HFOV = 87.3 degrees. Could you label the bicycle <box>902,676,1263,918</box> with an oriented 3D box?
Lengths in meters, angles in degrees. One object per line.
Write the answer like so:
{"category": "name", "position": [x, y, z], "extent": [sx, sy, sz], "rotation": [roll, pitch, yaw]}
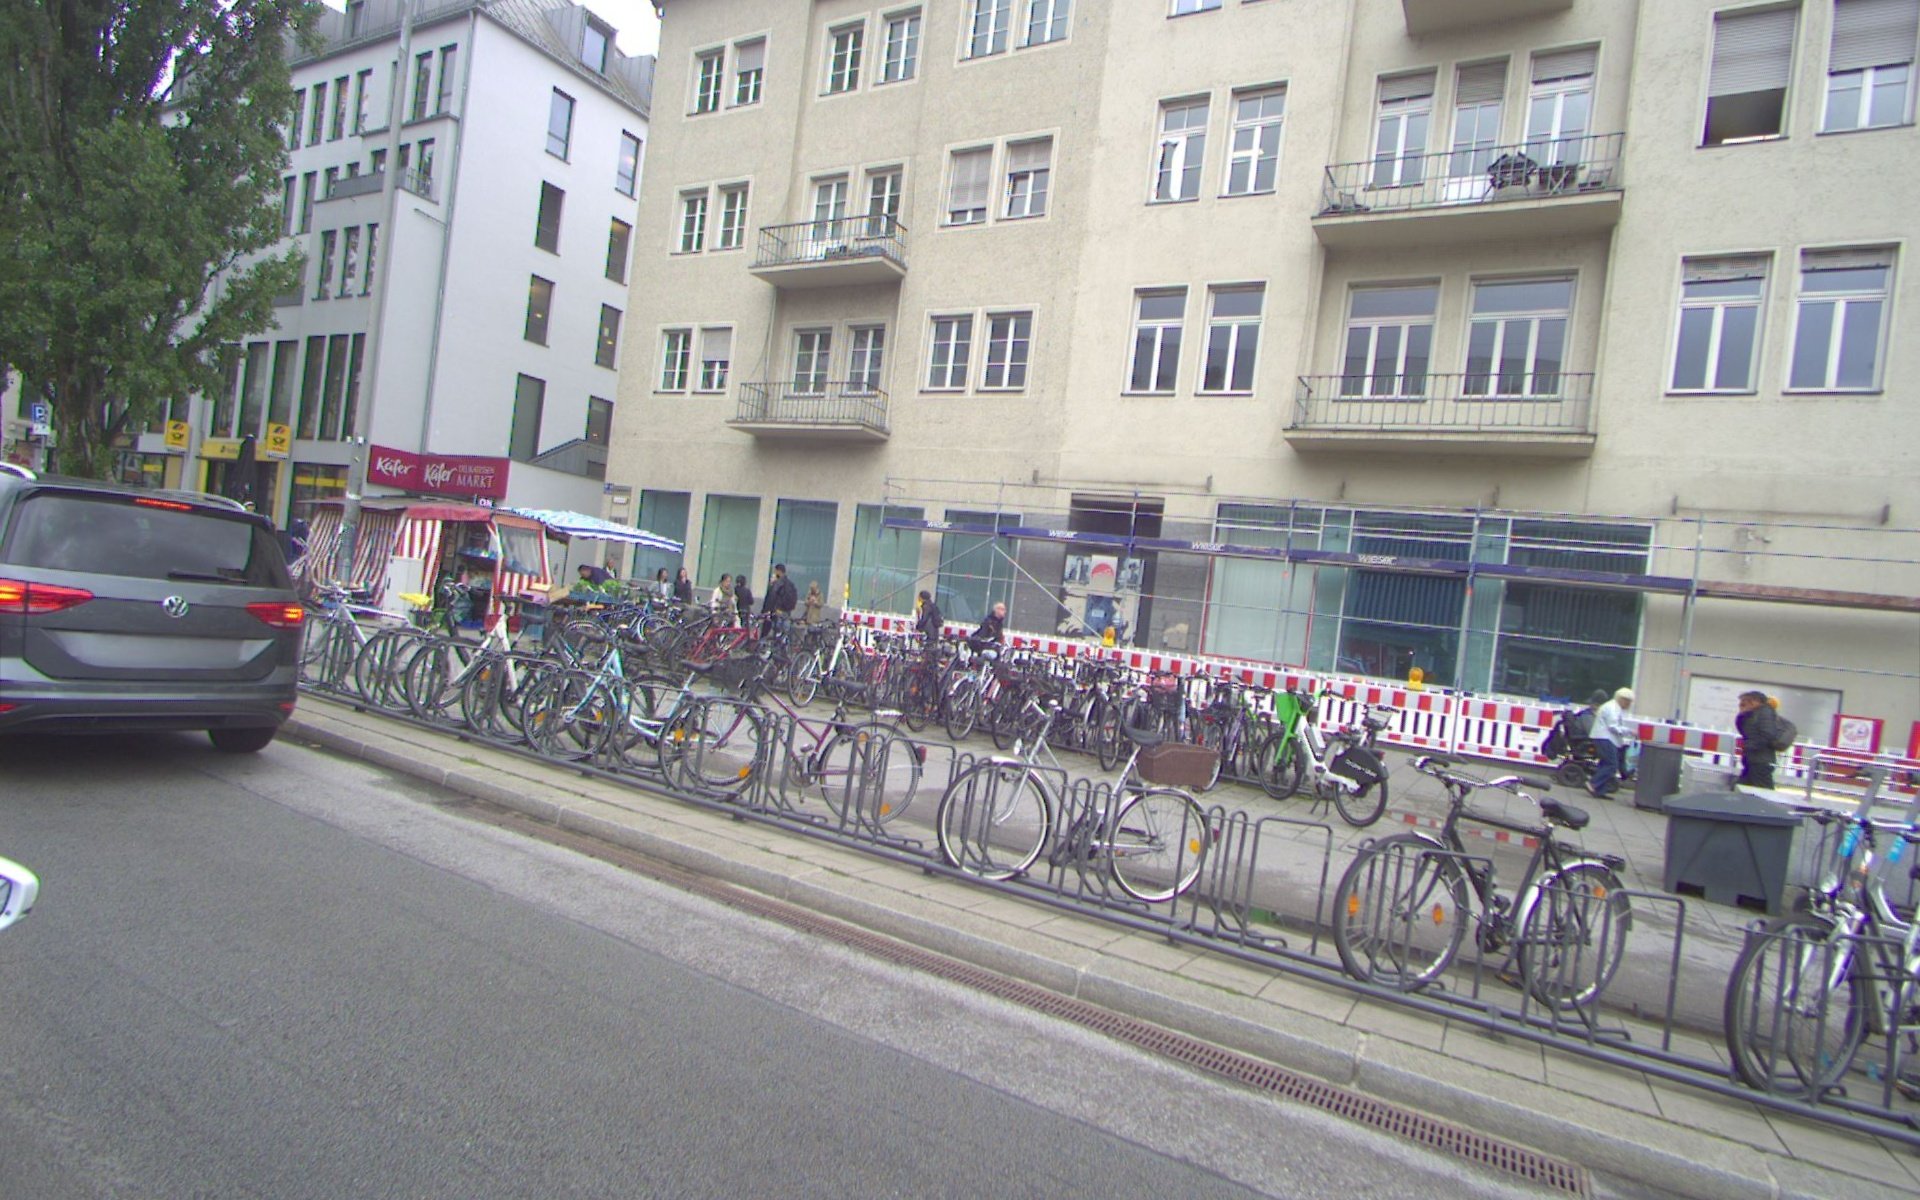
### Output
{"category": "bicycle", "position": [0.684, 1.097, 5.569], "extent": [1.781, 1.125, 0.648], "rotation": [7, 0, -23]}

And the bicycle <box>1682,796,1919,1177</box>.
{"category": "bicycle", "position": [3.659, 1.431, 3.987], "extent": [1.785, 1.172, 0.483], "rotation": [7, 0, -30]}

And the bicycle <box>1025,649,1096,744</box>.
{"category": "bicycle", "position": [1.283, 1.193, 12.640], "extent": [0.362, 1.088, 1.331], "rotation": [7, 0, 24]}

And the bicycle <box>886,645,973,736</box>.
{"category": "bicycle", "position": [-0.341, 1.056, 11.853], "extent": [0.363, 0.975, 1.183], "rotation": [7, 0, 29]}

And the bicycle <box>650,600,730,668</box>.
{"category": "bicycle", "position": [-4.249, 0.548, 15.902], "extent": [0.363, 0.993, 1.246], "rotation": [7, 0, 29]}

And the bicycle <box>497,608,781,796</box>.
{"category": "bicycle", "position": [-2.281, 0.735, 7.286], "extent": [1.778, 1.125, 0.584], "rotation": [7, 0, -17]}

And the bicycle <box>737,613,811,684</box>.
{"category": "bicycle", "position": [-2.765, 0.729, 15.040], "extent": [0.362, 0.993, 1.247], "rotation": [7, 0, 22]}

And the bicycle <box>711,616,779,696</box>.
{"category": "bicycle", "position": [-2.844, 0.733, 13.417], "extent": [0.362, 0.975, 1.229], "rotation": [7, 0, 9]}

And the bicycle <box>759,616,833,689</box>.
{"category": "bicycle", "position": [-2.383, 0.772, 14.724], "extent": [0.362, 0.993, 1.247], "rotation": [7, 0, 22]}

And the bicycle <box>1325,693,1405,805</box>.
{"category": "bicycle", "position": [4.493, 1.599, 11.109], "extent": [0.444, 1.088, 1.552], "rotation": [7, 0, 32]}

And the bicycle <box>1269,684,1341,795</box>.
{"category": "bicycle", "position": [3.900, 1.521, 11.315], "extent": [0.443, 1.088, 1.553], "rotation": [7, 0, 26]}

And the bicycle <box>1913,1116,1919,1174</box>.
{"category": "bicycle", "position": [4.236, 1.506, 3.706], "extent": [1.786, 1.172, 0.483], "rotation": [7, 0, -31]}

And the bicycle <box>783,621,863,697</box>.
{"category": "bicycle", "position": [-1.930, 0.840, 14.305], "extent": [0.363, 0.993, 1.246], "rotation": [7, 0, 28]}

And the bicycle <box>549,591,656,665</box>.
{"category": "bicycle", "position": [-5.214, 0.430, 14.741], "extent": [0.363, 0.975, 1.431], "rotation": [7, 0, 36]}

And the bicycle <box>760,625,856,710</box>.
{"category": "bicycle", "position": [-1.892, 0.846, 12.683], "extent": [0.363, 0.975, 1.405], "rotation": [7, 0, 26]}

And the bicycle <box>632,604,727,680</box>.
{"category": "bicycle", "position": [-3.909, 0.610, 14.092], "extent": [0.363, 0.975, 1.262], "rotation": [7, 0, 33]}

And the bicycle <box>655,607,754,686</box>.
{"category": "bicycle", "position": [-3.501, 0.655, 13.852], "extent": [0.364, 0.975, 1.259], "rotation": [8, 0, 40]}

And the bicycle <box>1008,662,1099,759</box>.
{"category": "bicycle", "position": [1.043, 1.204, 11.051], "extent": [0.363, 0.975, 1.133], "rotation": [7, 0, 36]}

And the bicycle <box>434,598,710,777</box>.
{"category": "bicycle", "position": [-2.865, 0.661, 7.575], "extent": [1.778, 1.125, 0.489], "rotation": [7, 0, -17]}

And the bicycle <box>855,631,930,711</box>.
{"category": "bicycle", "position": [-0.902, 0.963, 13.703], "extent": [0.362, 0.993, 1.247], "rotation": [7, 0, 24]}

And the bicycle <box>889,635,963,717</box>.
{"category": "bicycle", "position": [-0.430, 0.996, 13.316], "extent": [0.362, 0.993, 1.247], "rotation": [7, 0, 24]}

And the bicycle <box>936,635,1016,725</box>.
{"category": "bicycle", "position": [0.232, 1.039, 13.232], "extent": [0.362, 1.088, 1.504], "rotation": [7, 0, 24]}

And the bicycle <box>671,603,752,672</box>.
{"category": "bicycle", "position": [-3.813, 0.596, 15.532], "extent": [0.363, 0.993, 1.246], "rotation": [7, 0, 29]}

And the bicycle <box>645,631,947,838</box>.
{"category": "bicycle", "position": [-1.072, 0.883, 6.589], "extent": [1.778, 1.125, 0.560], "rotation": [7, 0, -18]}

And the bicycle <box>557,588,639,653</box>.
{"category": "bicycle", "position": [-5.943, 0.350, 16.550], "extent": [0.363, 0.975, 1.246], "rotation": [7, 0, 29]}

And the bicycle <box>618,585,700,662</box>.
{"category": "bicycle", "position": [-4.801, 0.395, 16.128], "extent": [0.363, 1.154, 1.246], "rotation": [7, 0, 29]}

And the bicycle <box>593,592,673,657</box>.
{"category": "bicycle", "position": [-5.359, 0.422, 16.555], "extent": [0.363, 0.975, 1.246], "rotation": [7, 0, 29]}

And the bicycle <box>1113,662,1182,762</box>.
{"category": "bicycle", "position": [2.278, 1.316, 12.099], "extent": [0.362, 1.088, 1.430], "rotation": [7, 0, 24]}

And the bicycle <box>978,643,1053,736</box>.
{"category": "bicycle", "position": [0.723, 1.117, 12.747], "extent": [0.362, 1.088, 1.331], "rotation": [7, 0, 24]}

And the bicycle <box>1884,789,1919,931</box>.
{"category": "bicycle", "position": [7.417, 2.004, 7.486], "extent": [0.363, 0.976, 1.756], "rotation": [7, 0, 31]}

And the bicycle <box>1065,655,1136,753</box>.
{"category": "bicycle", "position": [1.743, 1.247, 12.333], "extent": [0.362, 1.088, 1.430], "rotation": [7, 0, 24]}

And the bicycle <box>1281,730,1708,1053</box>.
{"category": "bicycle", "position": [2.451, 1.291, 4.591], "extent": [1.782, 1.172, 0.648], "rotation": [7, 0, -24]}

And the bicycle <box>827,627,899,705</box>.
{"category": "bicycle", "position": [-1.334, 0.916, 14.064], "extent": [0.362, 0.993, 1.247], "rotation": [7, 0, 22]}

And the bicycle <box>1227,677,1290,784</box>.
{"category": "bicycle", "position": [3.450, 1.463, 11.570], "extent": [0.362, 1.088, 1.554], "rotation": [7, 0, 24]}

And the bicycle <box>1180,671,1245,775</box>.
{"category": "bicycle", "position": [2.970, 1.403, 11.754], "extent": [0.362, 1.088, 1.430], "rotation": [7, 0, 24]}

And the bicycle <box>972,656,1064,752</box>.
{"category": "bicycle", "position": [0.667, 1.158, 11.260], "extent": [0.363, 0.975, 1.133], "rotation": [7, 0, 36]}

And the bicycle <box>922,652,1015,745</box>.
{"category": "bicycle", "position": [0.114, 1.130, 11.582], "extent": [0.363, 0.975, 1.181], "rotation": [7, 0, 35]}
